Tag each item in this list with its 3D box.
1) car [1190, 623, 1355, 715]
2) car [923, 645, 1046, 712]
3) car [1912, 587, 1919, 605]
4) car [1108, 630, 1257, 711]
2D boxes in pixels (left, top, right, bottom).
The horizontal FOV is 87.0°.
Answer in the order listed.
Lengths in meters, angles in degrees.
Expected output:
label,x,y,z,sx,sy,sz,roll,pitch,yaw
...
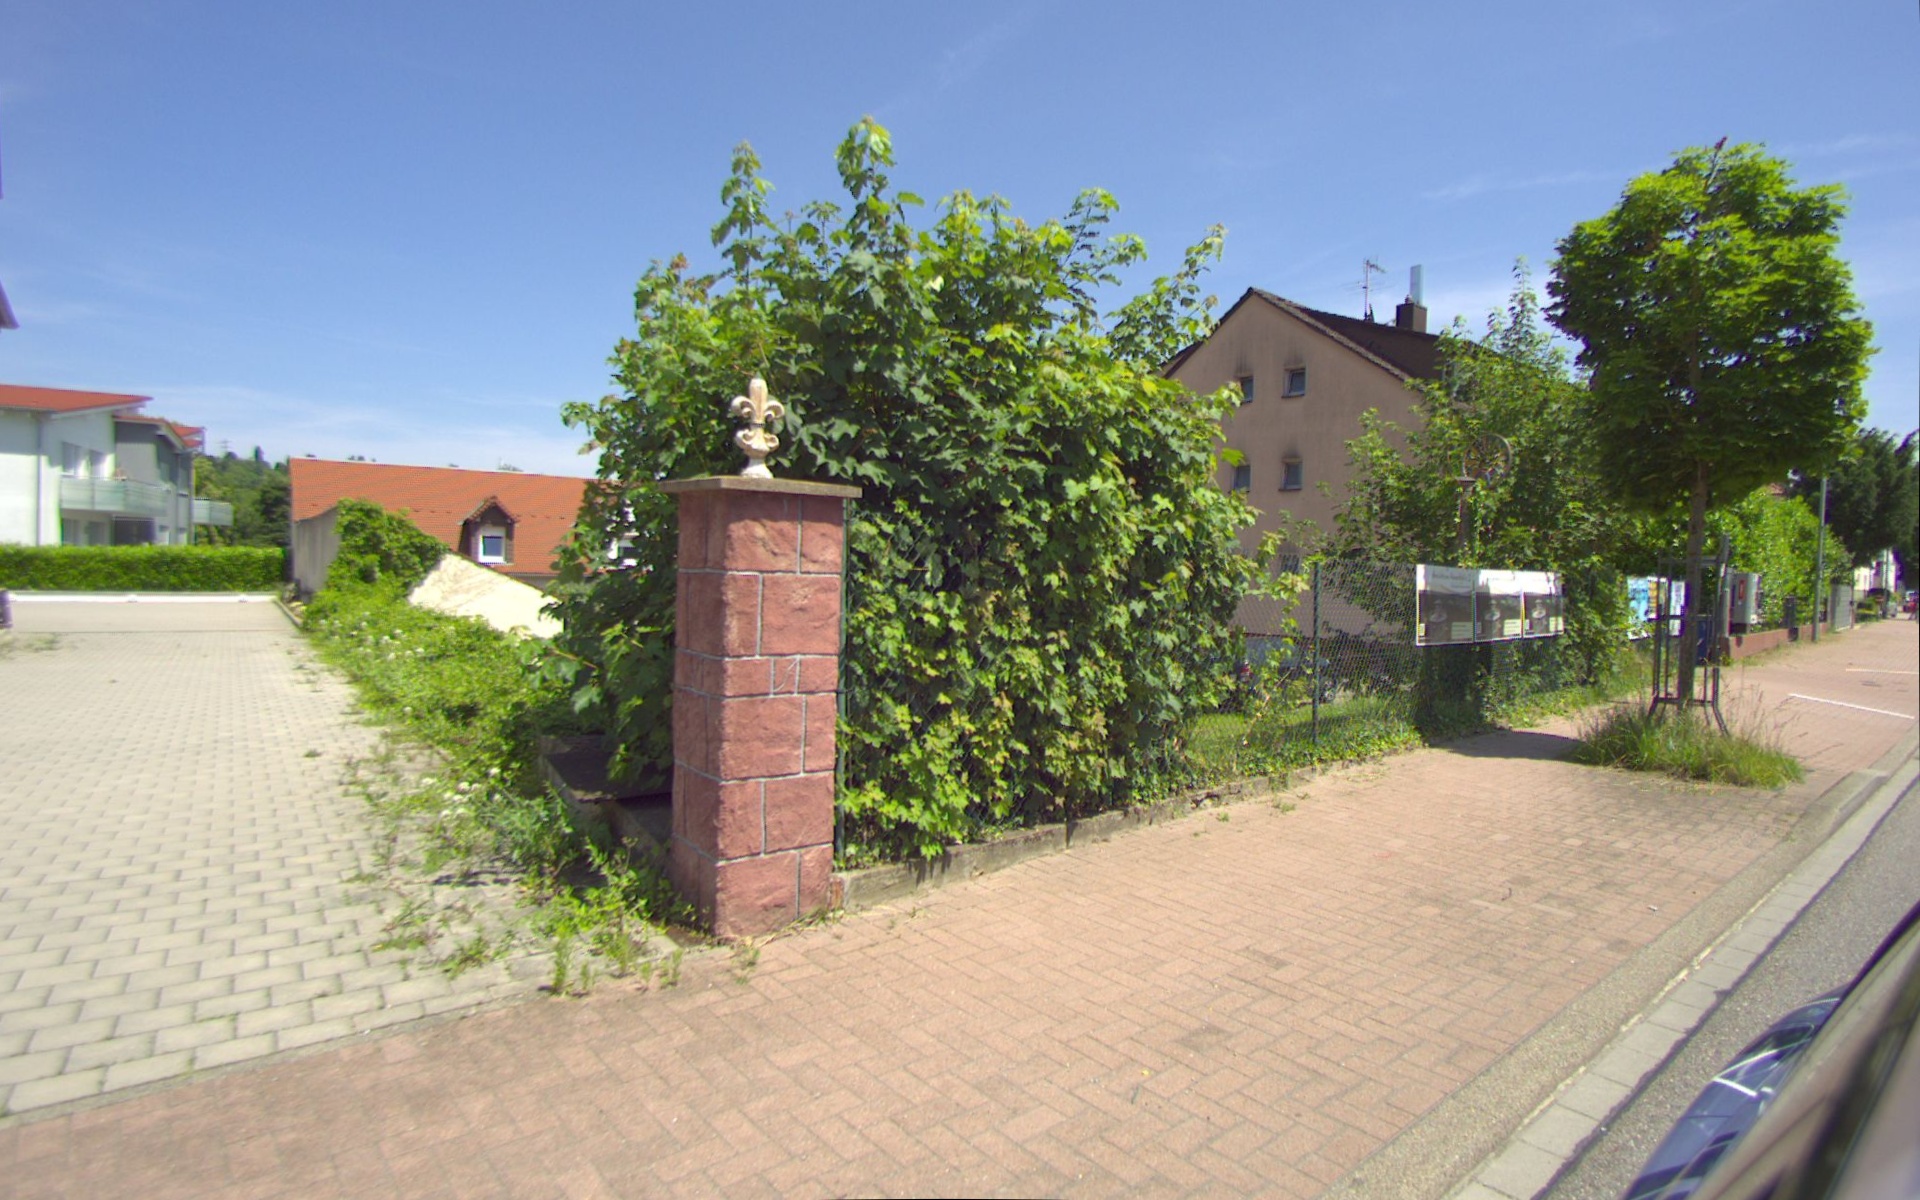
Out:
label,x,y,z,sx,sy,sz,roll,pitch,yaw
car,6.462,1.392,20.769,3.511,1.492,1.493,-3,-5,-42
car,0.697,2.101,27.367,3.237,1.492,1.324,-3,-3,-42
car,86.532,-0.327,90.719,1.634,1.600,3.513,4,3,44
car,5.085,1.568,23.014,3.229,1.492,1.327,-4,-3,-33
